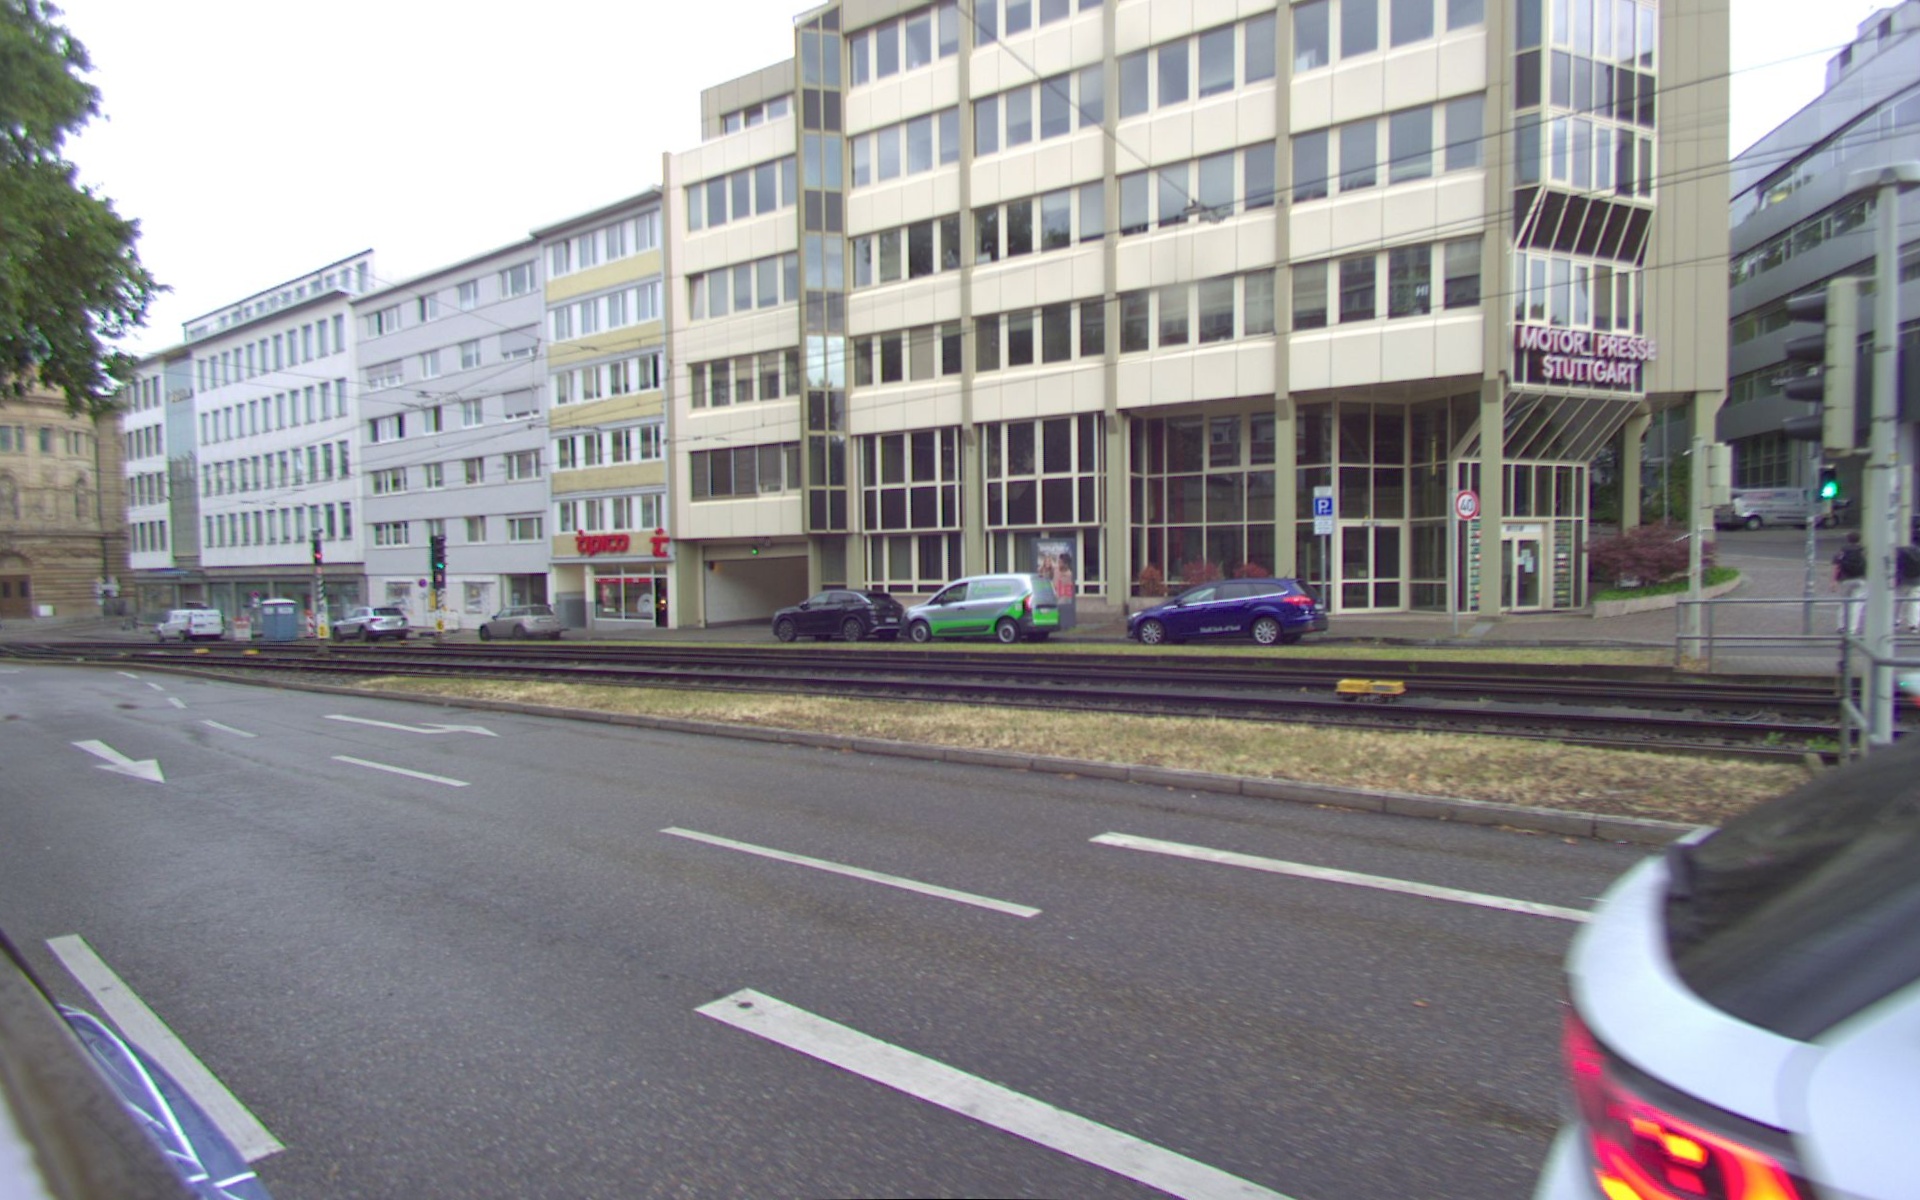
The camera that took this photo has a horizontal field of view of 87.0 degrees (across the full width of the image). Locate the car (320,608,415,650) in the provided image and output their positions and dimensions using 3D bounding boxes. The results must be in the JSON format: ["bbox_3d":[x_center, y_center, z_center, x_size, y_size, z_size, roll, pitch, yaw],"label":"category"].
[{"bbox_3d":[-27.184,1.337,46.400,4.685,1.686,1.976,-3,2,36],"label":"car"}]

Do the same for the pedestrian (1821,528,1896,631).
[{"bbox_3d":[16.187,-0.371,18.249,0.804,1.800,0.637,-1,3,18],"label":"pedestrian"}]

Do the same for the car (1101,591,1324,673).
[{"bbox_3d":[5.709,0.673,23.047,4.536,1.593,1.978,0,3,33],"label":"car"}]

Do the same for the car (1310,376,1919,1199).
[{"bbox_3d":[2.510,0.578,0.250,4.250,1.588,1.662,-2,0,41],"label":"car"}]

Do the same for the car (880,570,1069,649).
[{"bbox_3d":[0.356,0.231,26.963,4.682,1.863,1.978,0,3,34],"label":"car"}]

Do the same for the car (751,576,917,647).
[{"bbox_3d":[-3.763,0.303,30.002,4.682,1.863,1.978,0,3,34],"label":"car"}]

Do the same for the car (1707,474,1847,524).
[{"bbox_3d":[38.445,-4.718,47.735,4.779,2.028,1.996,-2,3,8],"label":"car"}]

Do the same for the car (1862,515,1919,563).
[{"bbox_3d":[28.865,-1.790,29.286,1.803,1.375,4.004,-2,3,-3],"label":"car"}]

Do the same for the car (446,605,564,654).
[{"bbox_3d":[-17.894,1.101,39.739,4.682,1.686,1.978,0,3,34],"label":"car"}]

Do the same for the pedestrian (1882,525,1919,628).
[{"bbox_3d":[17.129,-0.433,18.047,0.804,1.800,0.637,-1,3,18],"label":"pedestrian"}]

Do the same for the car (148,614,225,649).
[{"bbox_3d":[-45.637,1.819,59.659,5.117,1.856,1.978,0,3,34],"label":"car"}]
